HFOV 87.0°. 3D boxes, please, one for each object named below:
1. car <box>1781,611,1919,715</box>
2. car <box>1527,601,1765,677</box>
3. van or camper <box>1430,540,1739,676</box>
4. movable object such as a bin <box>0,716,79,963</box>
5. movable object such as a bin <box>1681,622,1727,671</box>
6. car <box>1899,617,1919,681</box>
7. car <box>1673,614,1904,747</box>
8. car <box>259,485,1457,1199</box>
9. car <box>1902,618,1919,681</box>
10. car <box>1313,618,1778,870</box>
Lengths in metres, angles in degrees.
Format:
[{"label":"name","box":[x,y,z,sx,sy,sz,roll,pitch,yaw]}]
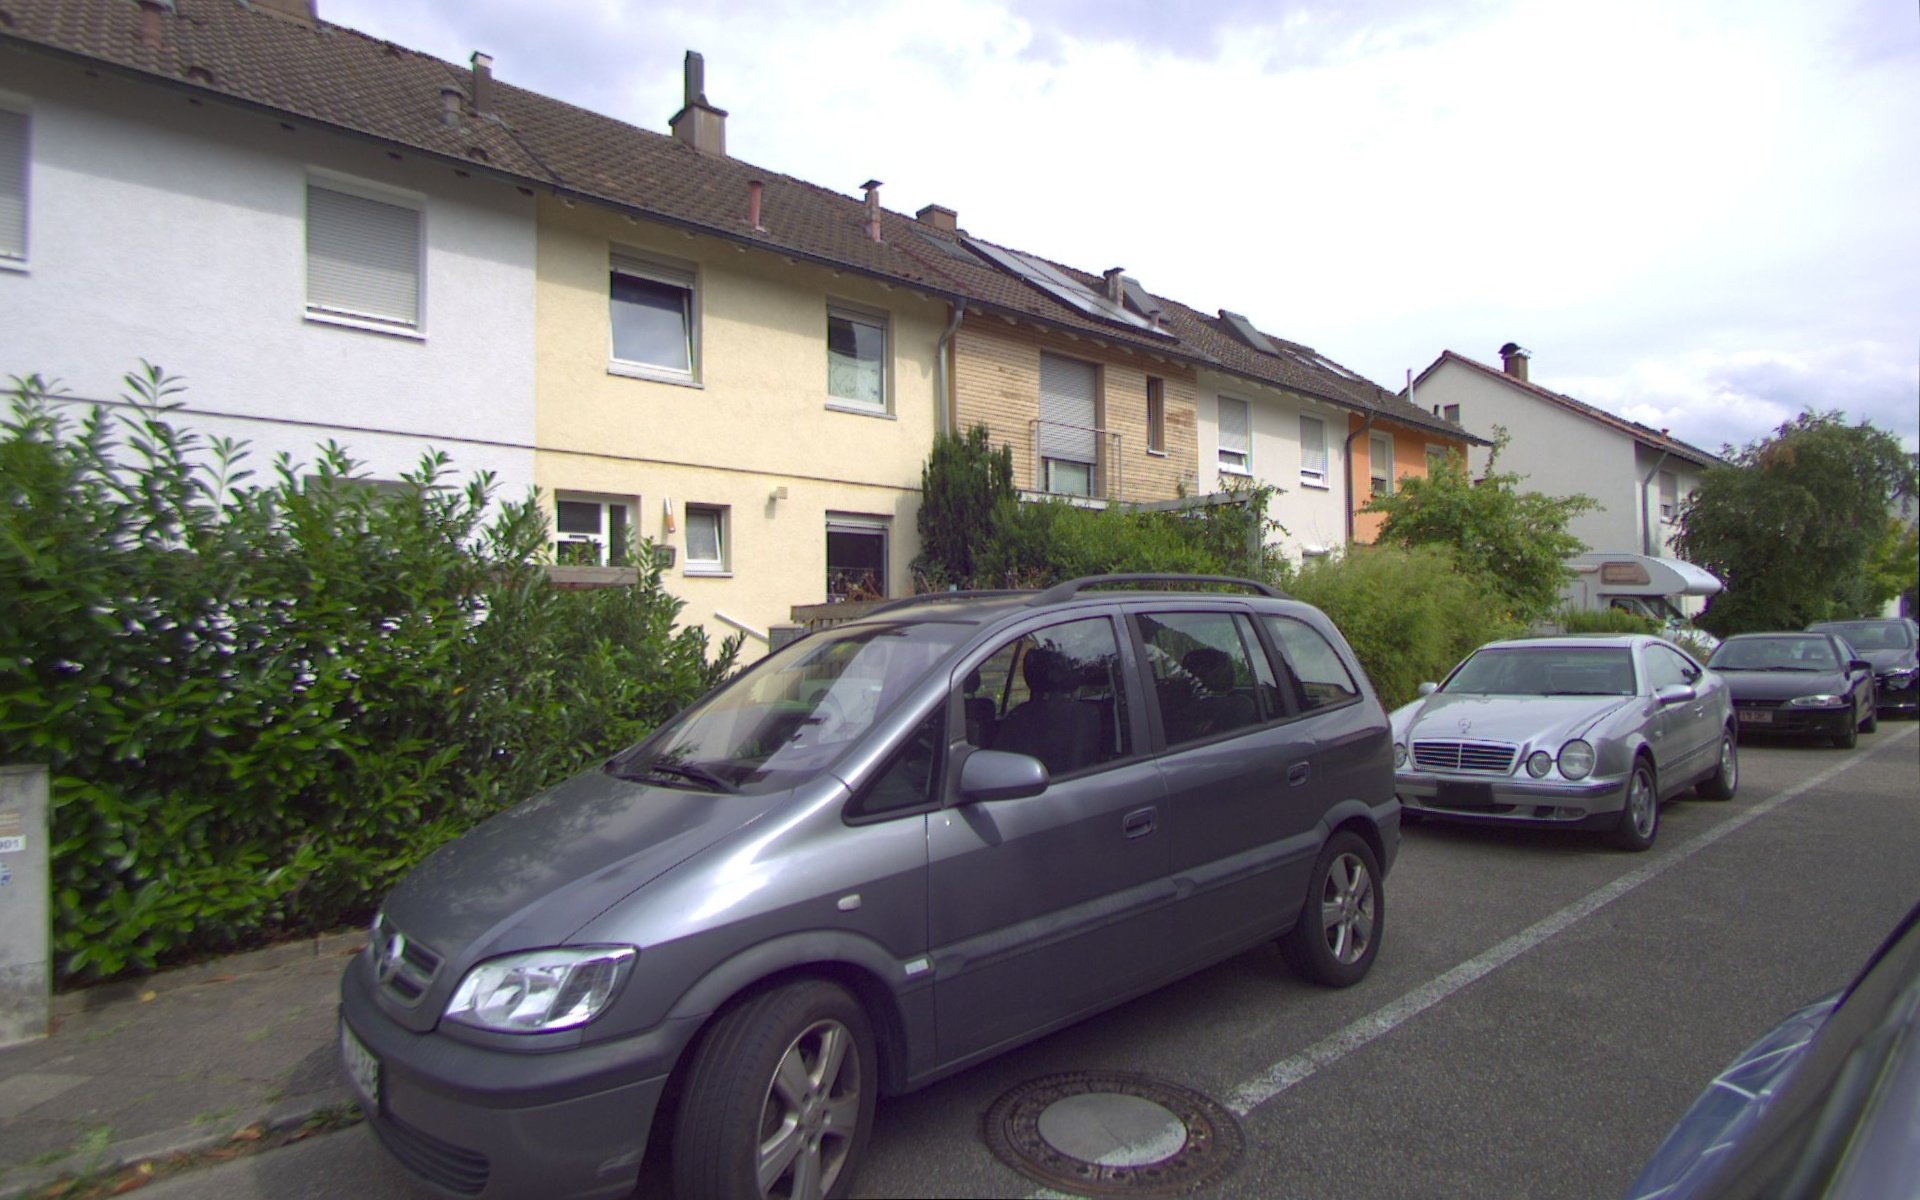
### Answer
[{"label":"car","box":[15.075,0.941,16.556,4.566,1.486,1.752,1,-2,-41]},{"label":"car","box":[16.990,0.943,25.294,1.864,1.730,4.542,1,-2,-37]},{"label":"van or camper","box":[14.818,0.208,24.395,2.490,2.854,5.812,1,-1,-38]},{"label":"movable object such as a bin","box":[-4.481,1.080,4.510,0.403,1.047,0.779,-2,-2,41]},{"label":"movable object such as a bin","box":[19.179,1.178,26.073,1.080,1.209,0.721,1,-1,-40]},{"label":"car","box":[24.338,1.156,24.539,4.141,1.490,1.745,1,-2,-40]},{"label":"car","box":[10.763,0.913,13.050,4.056,1.446,1.734,1,-2,-43]},{"label":"car","box":[0.067,0.677,3.939,4.388,1.675,1.869,1,-2,-43]},{"label":"car","box":[24.211,1.145,24.495,4.148,1.461,1.704,1,-3,-43]},{"label":"car","box":[4.863,0.893,8.061,4.686,1.426,1.869,1,-4,-43]}]
